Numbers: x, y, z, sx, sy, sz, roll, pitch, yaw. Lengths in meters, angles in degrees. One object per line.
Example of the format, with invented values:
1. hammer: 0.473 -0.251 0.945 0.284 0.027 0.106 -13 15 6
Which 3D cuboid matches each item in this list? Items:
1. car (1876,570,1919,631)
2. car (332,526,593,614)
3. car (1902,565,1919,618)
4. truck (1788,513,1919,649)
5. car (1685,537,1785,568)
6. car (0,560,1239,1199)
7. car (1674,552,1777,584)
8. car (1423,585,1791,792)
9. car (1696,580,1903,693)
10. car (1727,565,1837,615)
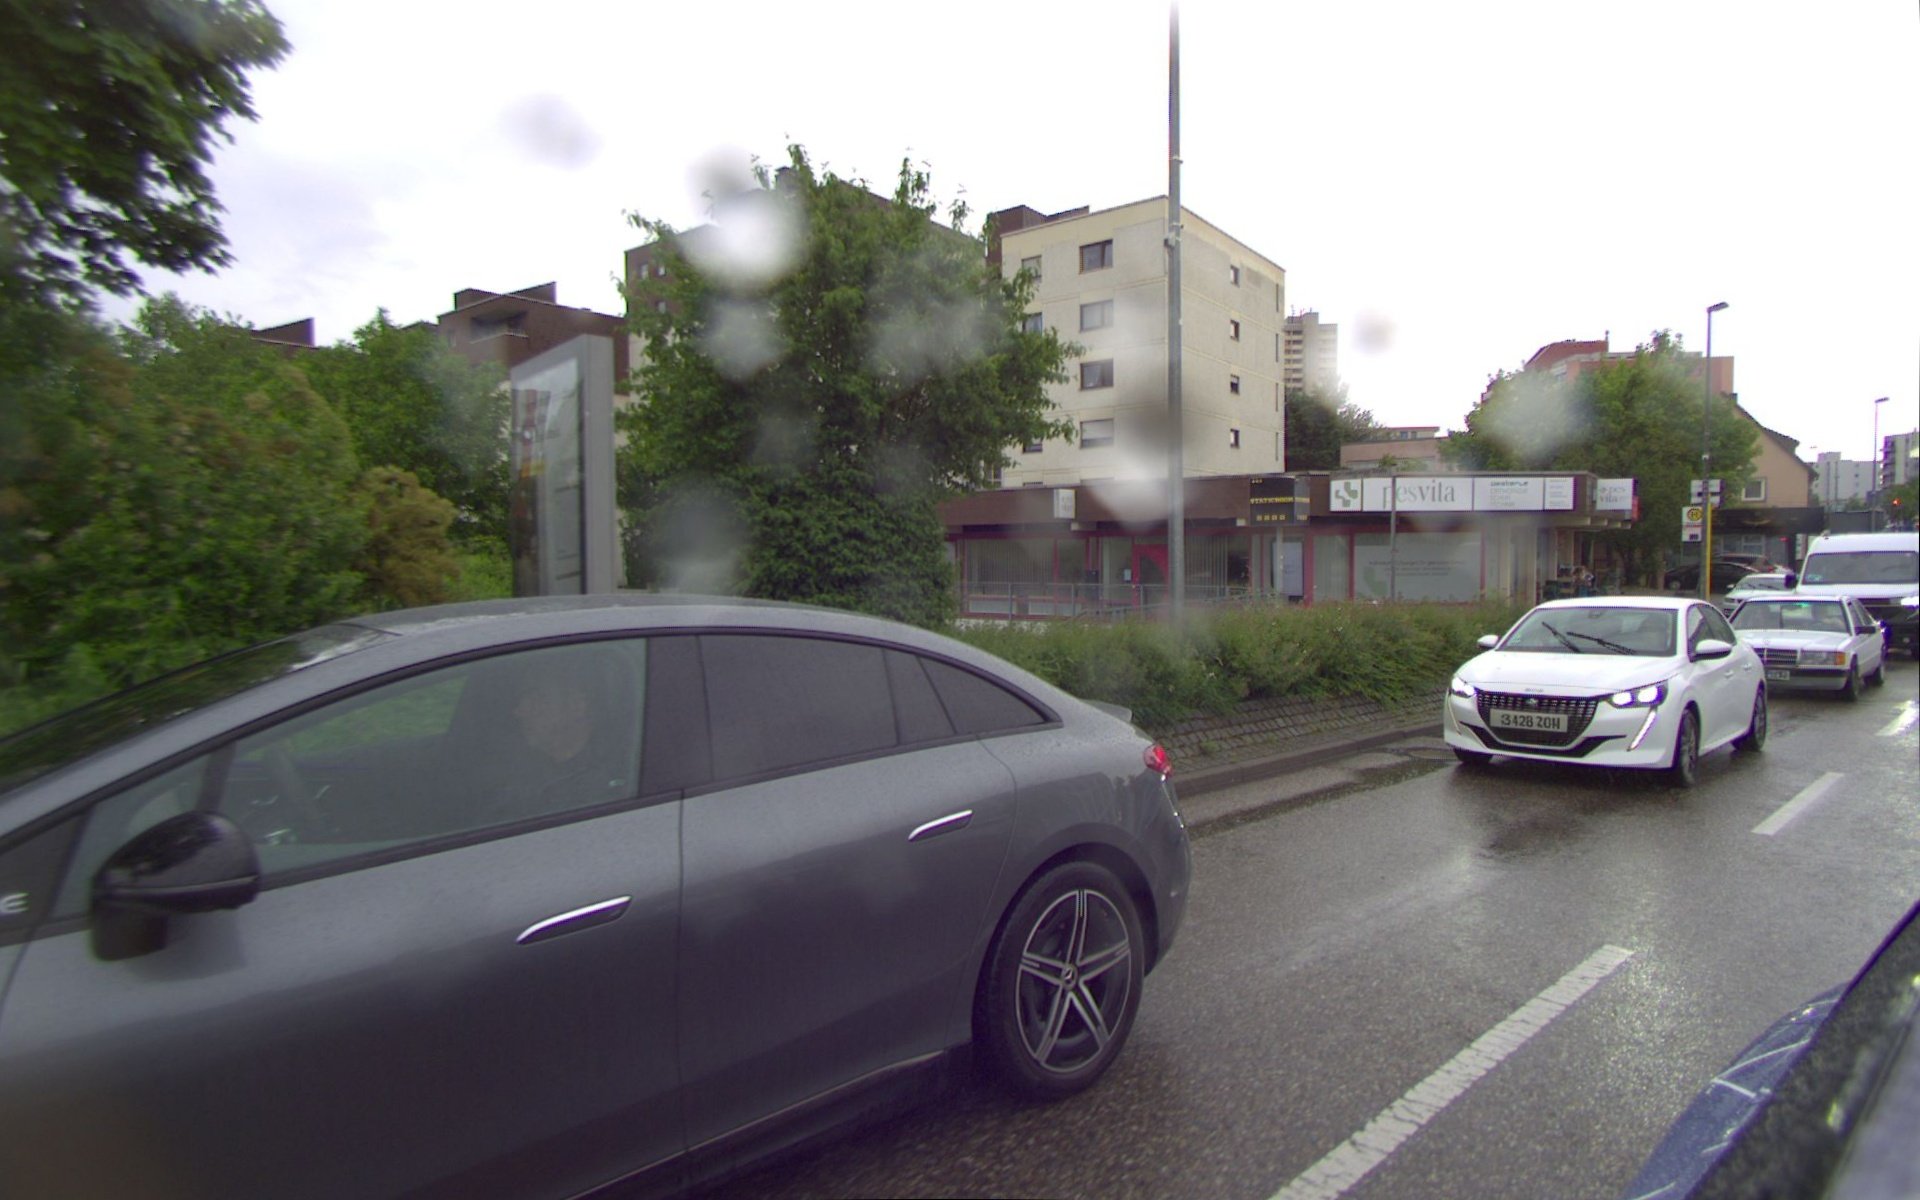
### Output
1. car: 25.438 -0.037 26.523 3.613 1.505 1.640 -1 -3 -41
2. car: -14.651 -0.936 30.388 2.773 2.299 6.701 3 3 29
3. car: 30.397 -0.230 31.045 3.934 1.571 1.995 0 1 -44
4. truck: 19.271 -0.408 21.061 6.092 2.470 2.167 -1 2 -41
5. car: 39.319 -2.384 51.374 3.981 1.438 1.679 0 1 40
6. car: -1.293 0.662 2.796 4.472 1.462 1.834 -1 0 -41
7. car: 37.629 -1.552 49.761 3.981 1.438 1.972 0 1 40
8. car: 5.860 0.592 8.980 3.966 1.415 1.716 -1 0 -41
9. car: 12.061 0.435 14.468 3.670 1.394 1.716 -1 0 -41
10. car: 25.436 -0.342 31.275 3.738 1.367 1.998 -1 4 -41
